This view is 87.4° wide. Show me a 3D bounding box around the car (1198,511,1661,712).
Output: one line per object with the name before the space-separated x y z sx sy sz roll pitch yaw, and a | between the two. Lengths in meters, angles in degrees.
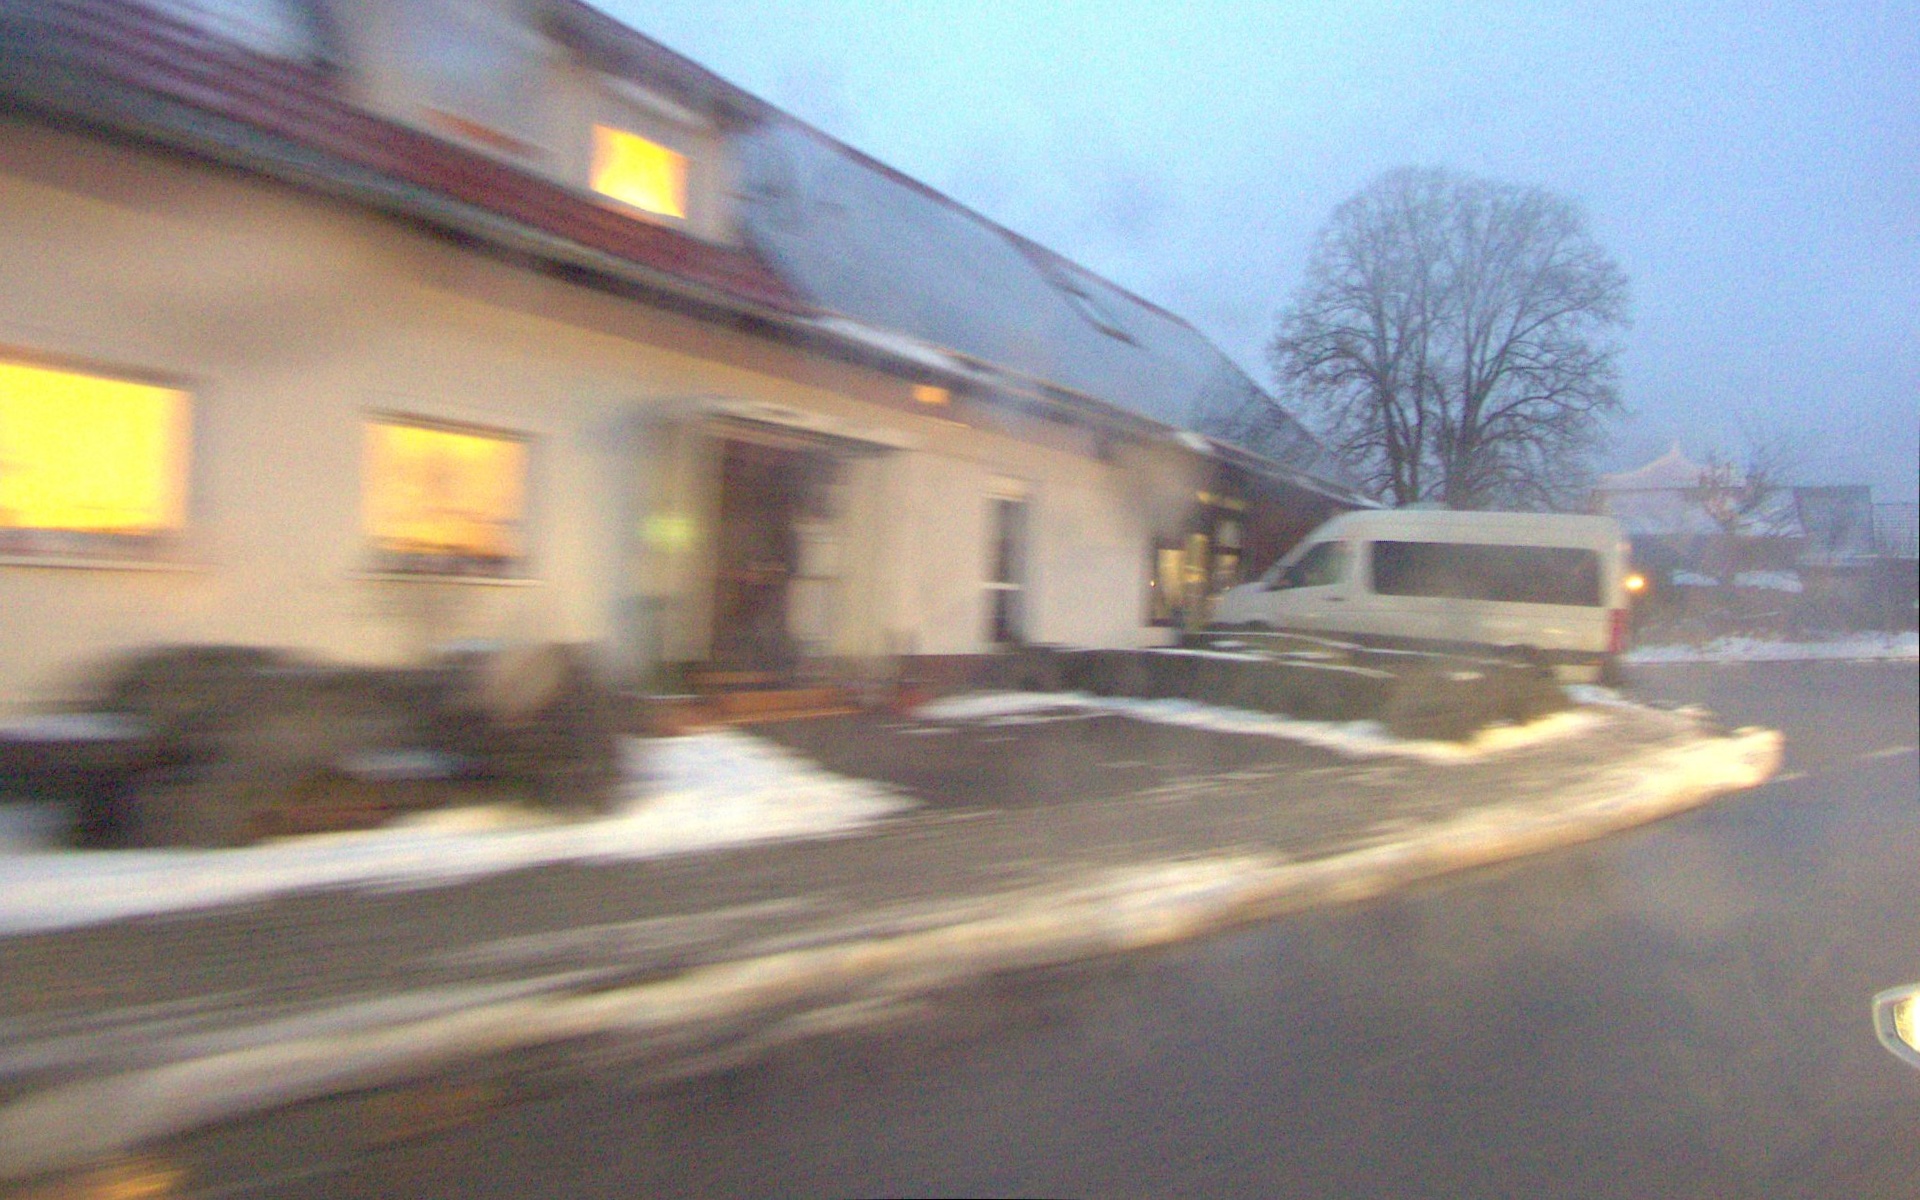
car | 6.845 0.193 15.227 6.006 2.587 1.997 0 -2 30
